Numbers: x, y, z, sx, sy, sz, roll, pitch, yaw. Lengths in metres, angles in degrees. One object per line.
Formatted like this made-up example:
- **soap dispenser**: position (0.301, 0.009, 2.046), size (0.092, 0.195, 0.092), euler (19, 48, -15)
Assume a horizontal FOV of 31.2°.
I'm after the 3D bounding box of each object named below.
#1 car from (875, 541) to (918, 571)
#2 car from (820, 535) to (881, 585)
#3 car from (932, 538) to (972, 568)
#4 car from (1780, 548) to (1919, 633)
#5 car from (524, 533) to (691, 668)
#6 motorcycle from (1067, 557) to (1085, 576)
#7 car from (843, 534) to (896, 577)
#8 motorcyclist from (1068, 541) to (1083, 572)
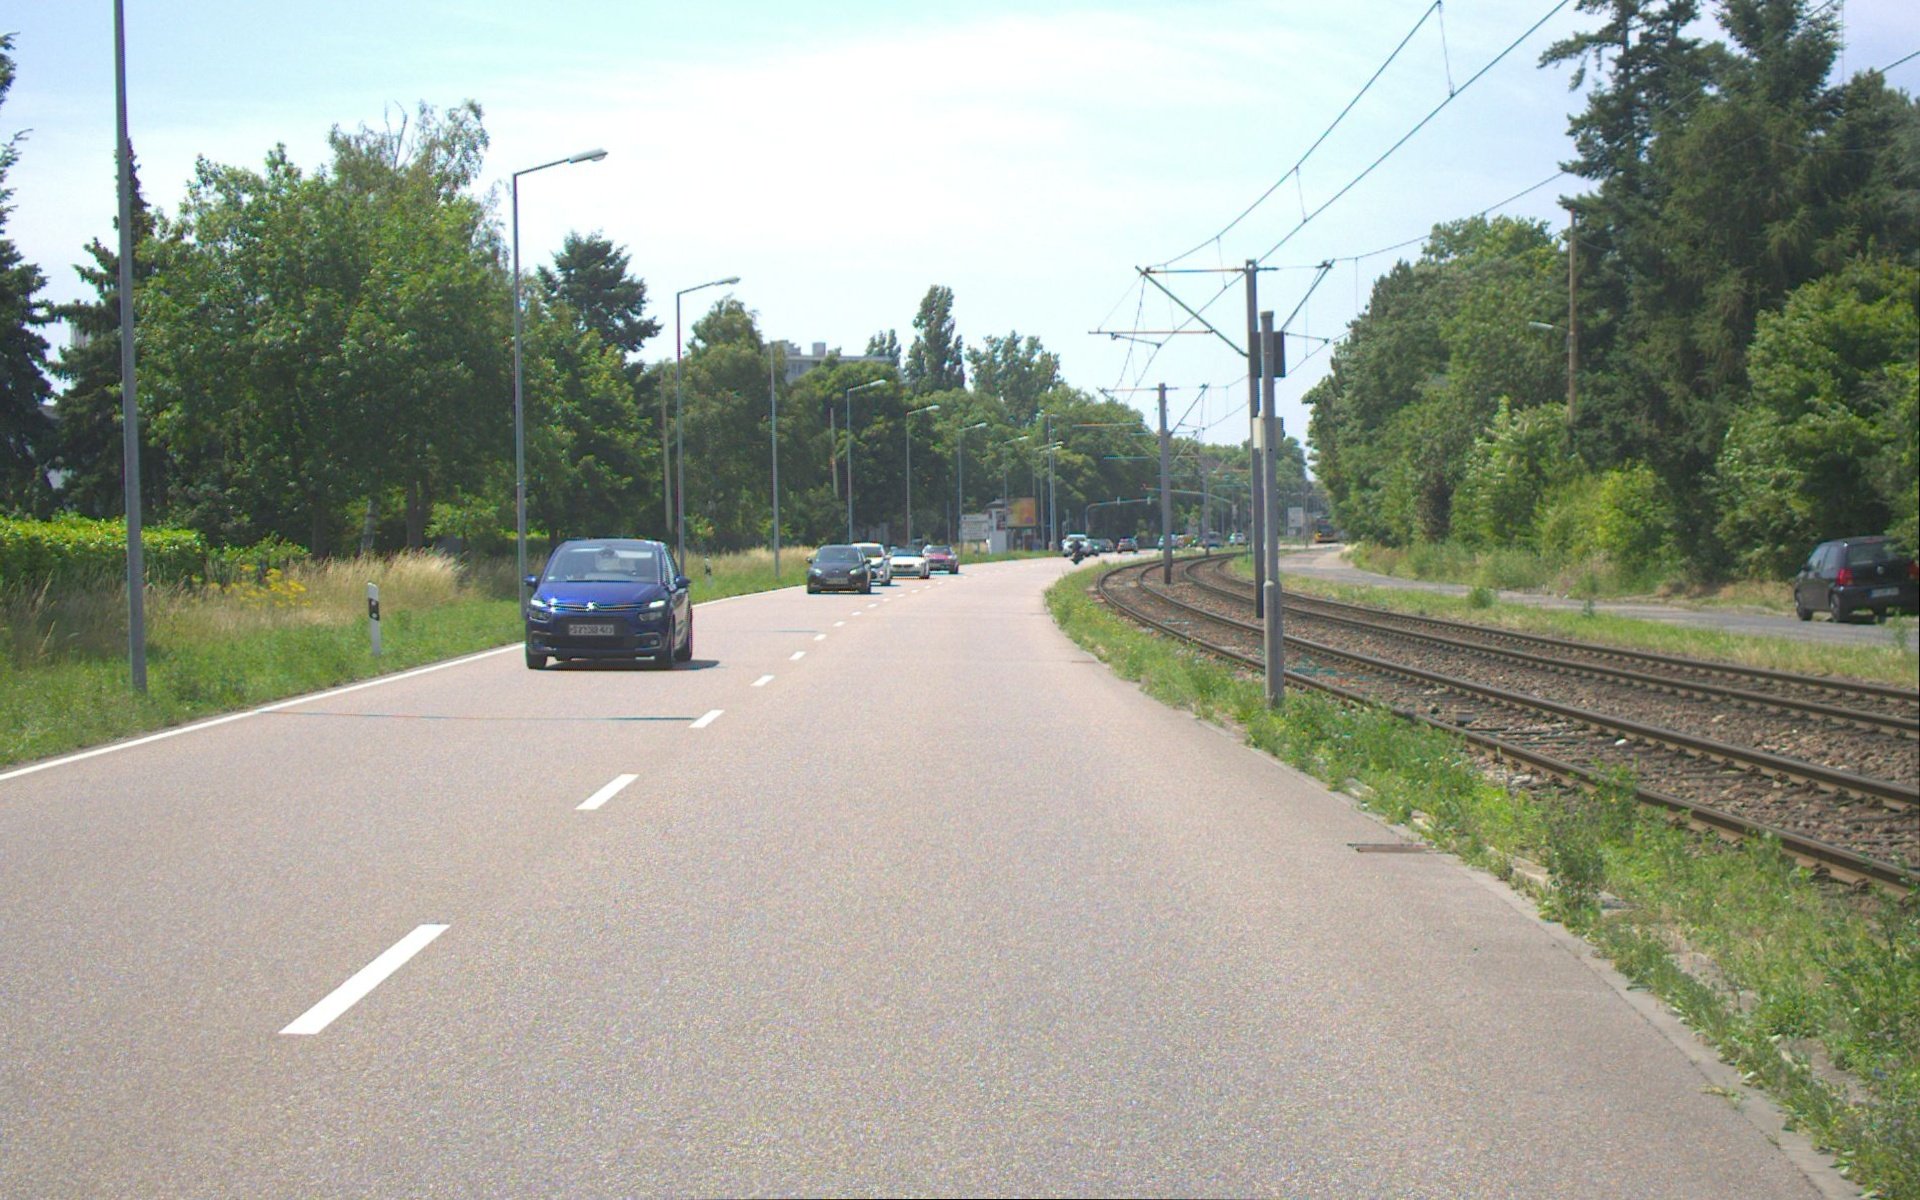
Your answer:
- **car**: position (-2.598, -1.812, 141.156), size (1.682, 1.245, 3.909), euler (0, 1, 1)
- **car**: position (-3.300, -1.220, 104.555), size (1.700, 1.486, 4.440), euler (0, 1, 0)
- **car**: position (-0.364, -2.177, 159.760), size (1.749, 1.296, 4.253), euler (-2, 1, 1)
- **car**: position (16.131, -0.196, 61.624), size (1.914, 1.465, 4.000), euler (0, 1, 0)
- **car**: position (-4.412, -0.021, 43.506), size (1.747, 1.626, 4.030), euler (0, 1, -1)
- **motorcycle**: position (7.095, -2.055, 210.887), size (0.970, 1.113, 2.732), euler (0, 1, 5)
- **car**: position (-3.193, -1.582, 121.567), size (1.747, 1.498, 3.707), euler (0, 1, 0)
- **motorcyclist**: position (7.082, -2.651, 210.800), size (0.892, 1.898, 1.015), euler (0, 1, 5)
